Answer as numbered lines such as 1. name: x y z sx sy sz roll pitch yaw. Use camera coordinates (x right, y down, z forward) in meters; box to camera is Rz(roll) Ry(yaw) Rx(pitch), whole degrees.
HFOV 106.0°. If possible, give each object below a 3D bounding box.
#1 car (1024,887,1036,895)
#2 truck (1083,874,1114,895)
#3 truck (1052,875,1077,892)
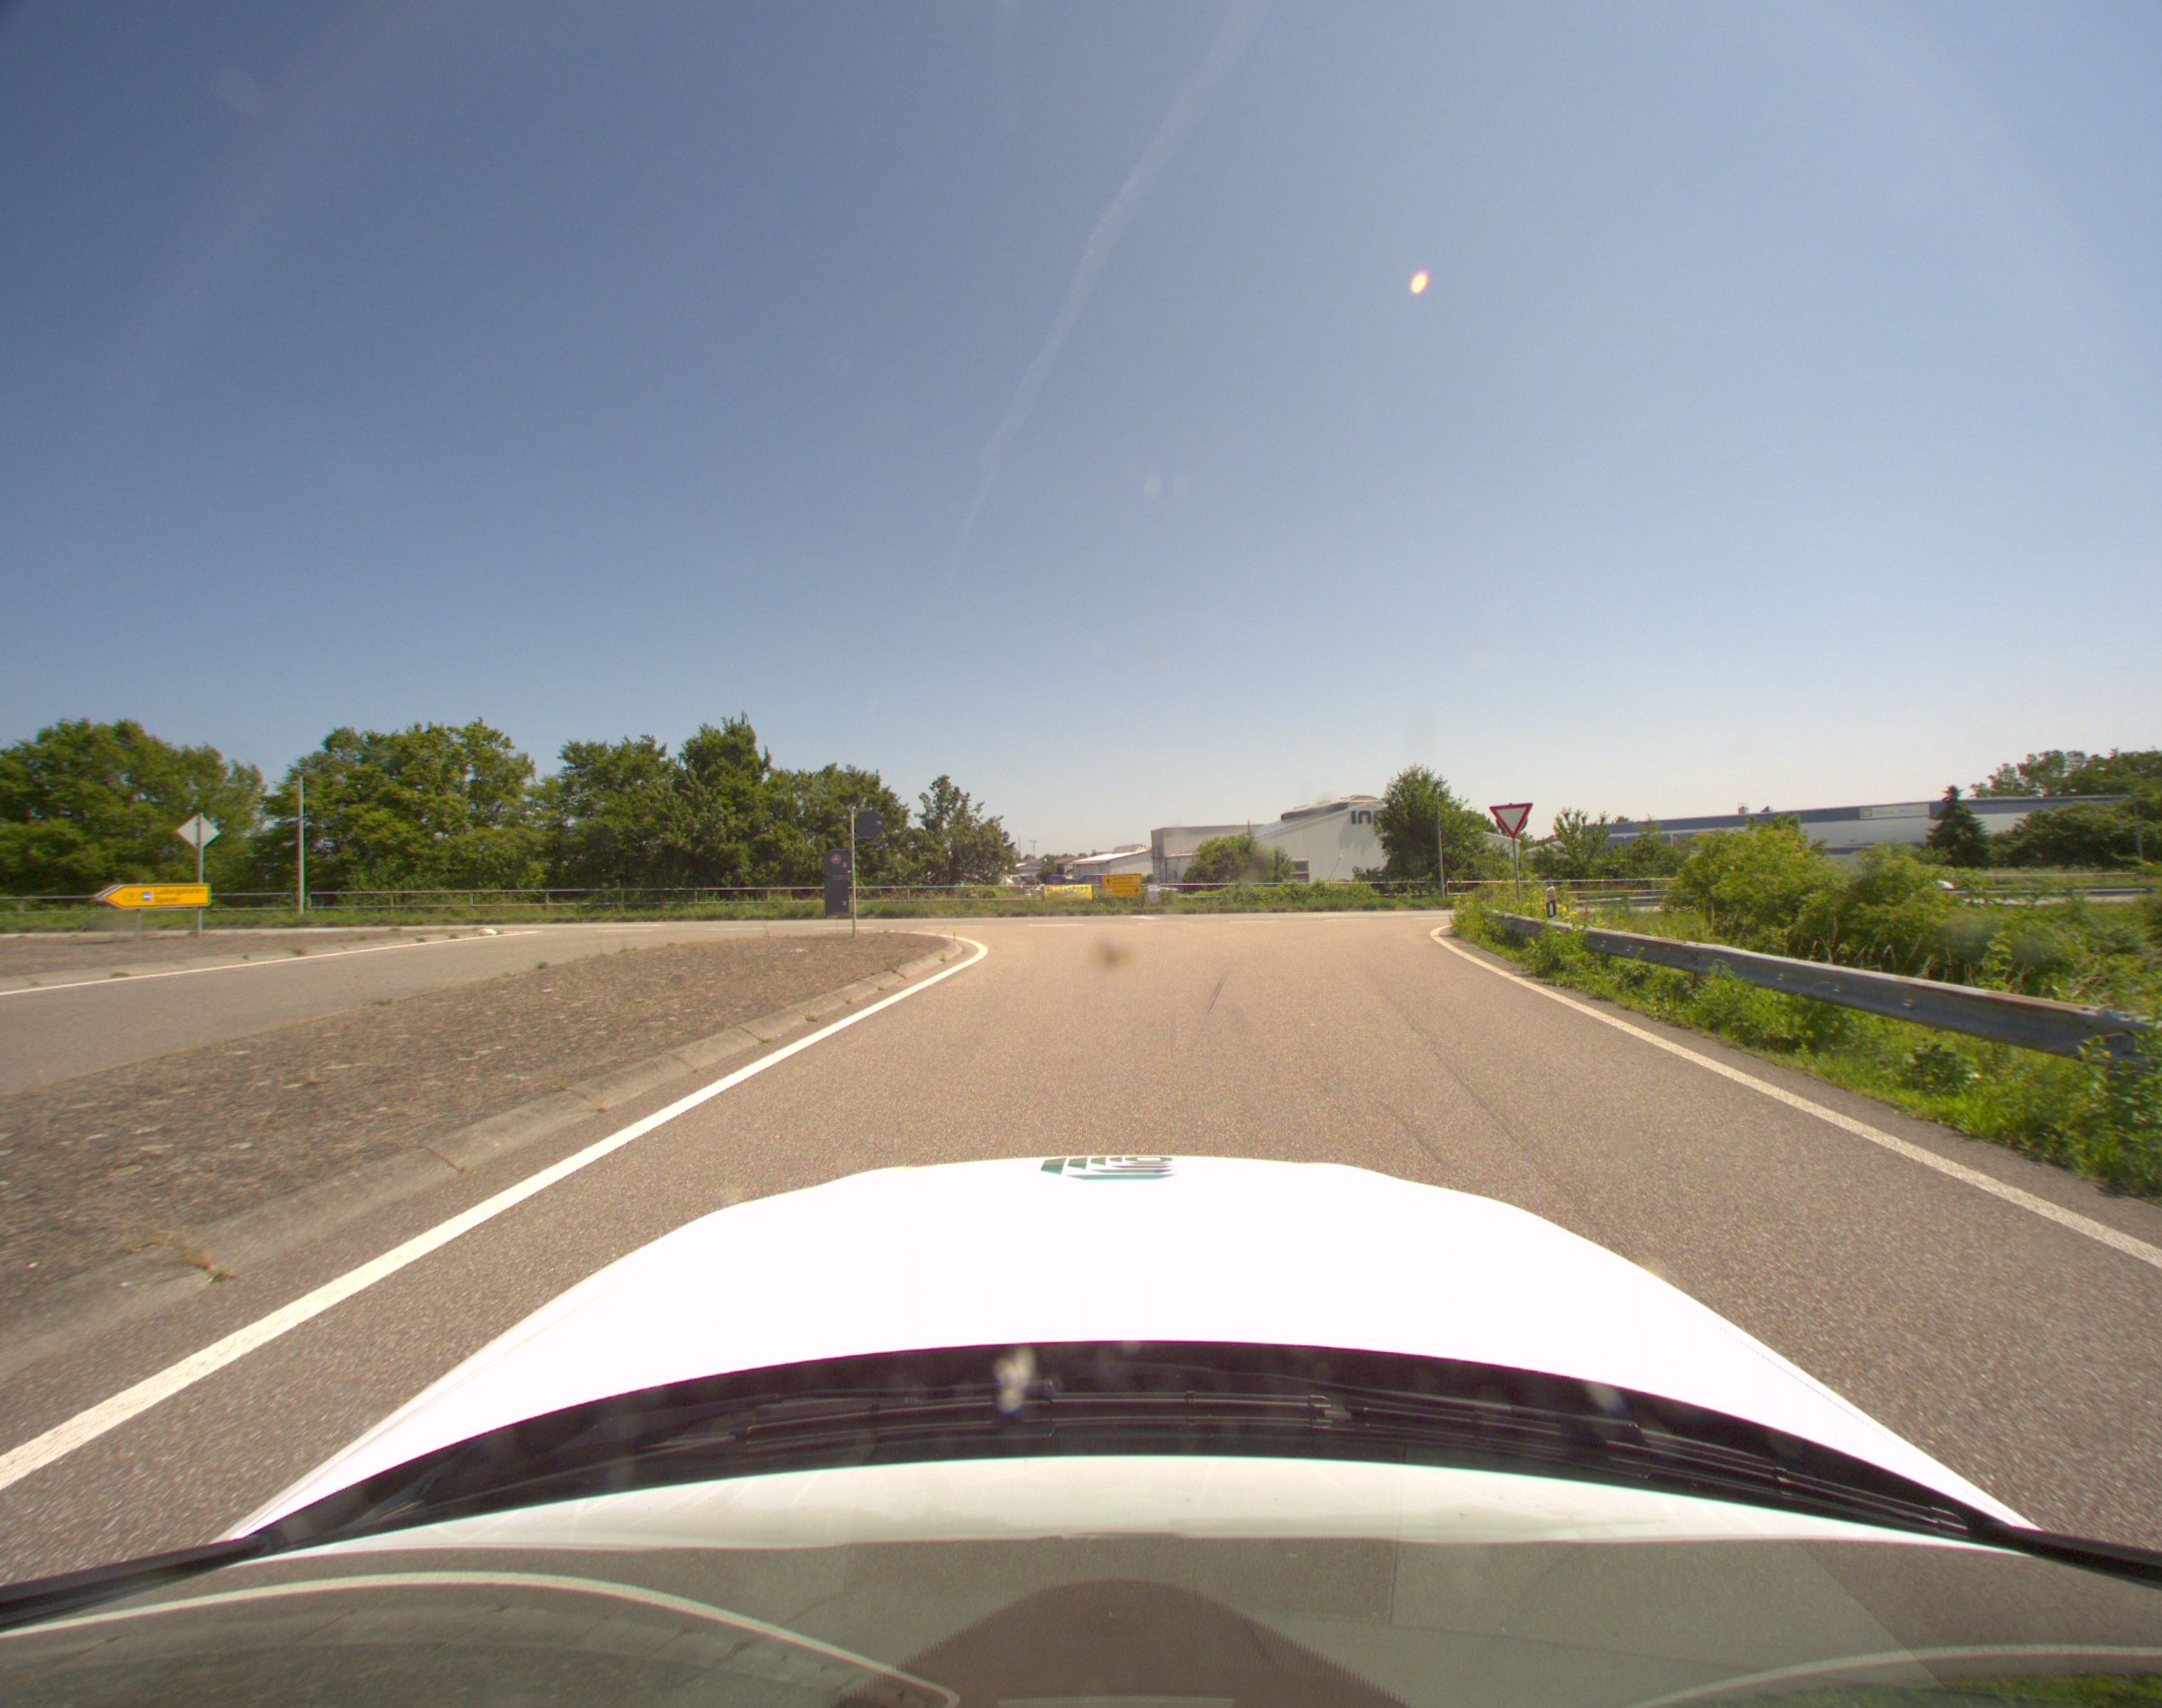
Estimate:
1. car: -11.902 8.561 189.718 1.996 1.731 4.839 0 -2 -14
2. truck: 3.637 6.457 174.381 3.711 4.311 13.285 -1 -2 -12
3. truck: -4.248 7.548 207.708 3.415 4.311 14.525 0 -2 -13
